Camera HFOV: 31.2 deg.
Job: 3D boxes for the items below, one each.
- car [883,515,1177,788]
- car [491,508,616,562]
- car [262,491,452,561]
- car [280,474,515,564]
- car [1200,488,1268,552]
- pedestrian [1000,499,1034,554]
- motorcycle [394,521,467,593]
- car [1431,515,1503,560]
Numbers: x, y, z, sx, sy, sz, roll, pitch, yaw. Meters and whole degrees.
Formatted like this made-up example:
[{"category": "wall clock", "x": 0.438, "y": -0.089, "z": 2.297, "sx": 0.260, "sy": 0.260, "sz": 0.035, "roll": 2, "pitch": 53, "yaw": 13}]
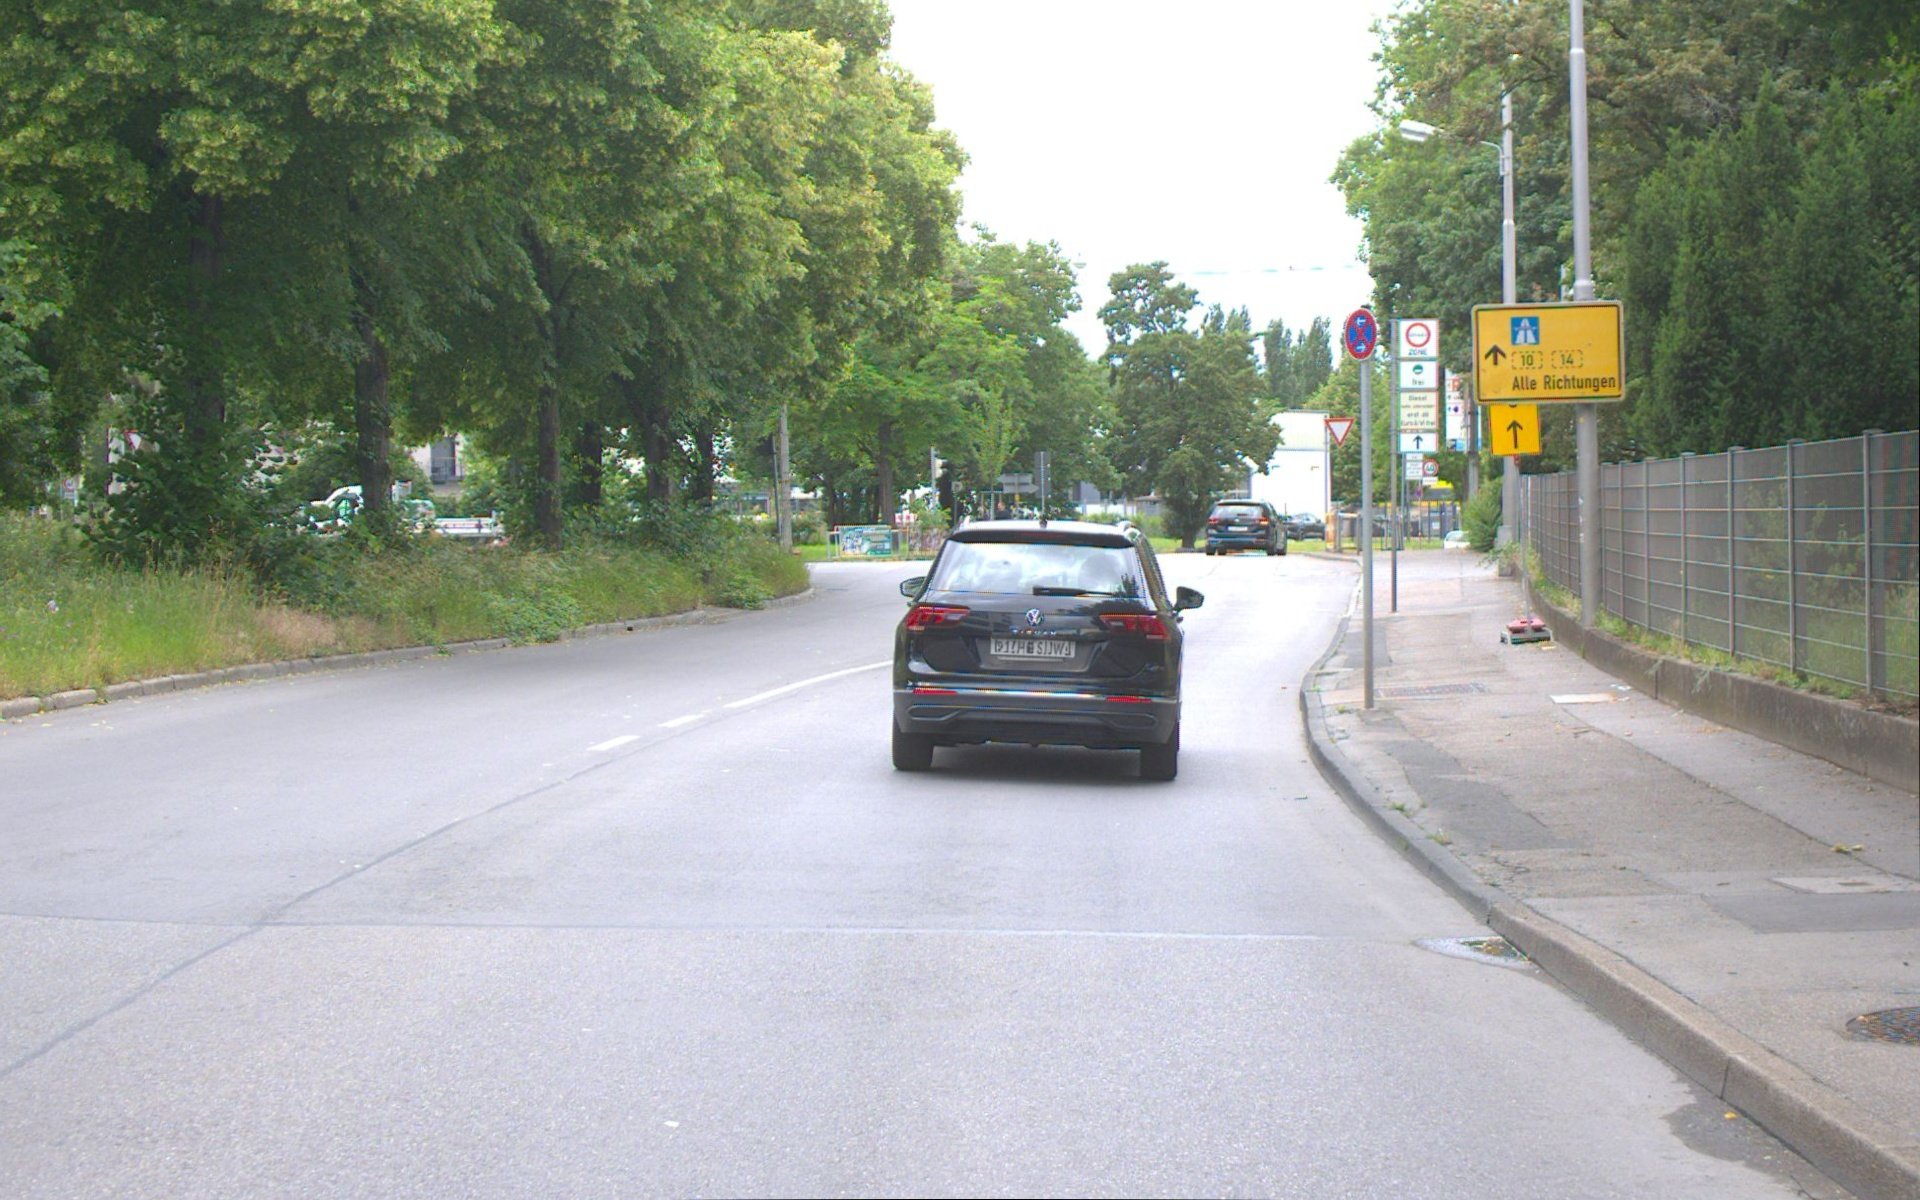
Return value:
[{"category": "car", "x": 0.489, "y": 0.280, "z": 22.629, "sx": 1.739, "sy": 1.612, "sz": 3.641, "roll": 1, "pitch": 1, "yaw": 2}, {"category": "car", "x": -11.671, "y": -1.879, "z": 98.772, "sx": 3.393, "sy": 1.473, "sz": 1.641, "roll": -1, "pitch": 2, "yaw": -1}, {"category": "car", "x": -17.460, "y": -2.146, "z": 99.597, "sx": 4.981, "sy": 1.935, "sz": 2.047, "roll": 0, "pitch": 2, "yaw": 13}, {"category": "car", "x": -15.640, "y": -2.275, "z": 95.821, "sx": 6.070, "sy": 2.379, "sz": 2.395, "roll": -1, "pitch": 2, "yaw": 1}, {"category": "car", "x": 7.092, "y": -2.082, "z": 89.164, "sx": 1.659, "sy": 1.569, "sz": 3.828, "roll": -1, "pitch": 1, "yaw": 4}, {"category": "pedestrian", "x": 1.815, "y": -2.349, "z": 109.481, "sx": 0.725, "sy": 1.736, "sz": 0.743, "roll": -2, "pitch": 2, "yaw": -42}, {"category": "motorcycle", "x": -8.988, "y": -0.737, "z": 58.422, "sx": 0.566, "sy": 1.164, "sz": 2.035, "roll": -1, "pitch": 2, "yaw": 11}, {"category": "car", "x": 20.616, "y": -2.544, "z": 139.733, "sx": 1.996, "sy": 1.780, "sz": 3.996, "roll": 1, "pitch": 1, "yaw": 22}]
